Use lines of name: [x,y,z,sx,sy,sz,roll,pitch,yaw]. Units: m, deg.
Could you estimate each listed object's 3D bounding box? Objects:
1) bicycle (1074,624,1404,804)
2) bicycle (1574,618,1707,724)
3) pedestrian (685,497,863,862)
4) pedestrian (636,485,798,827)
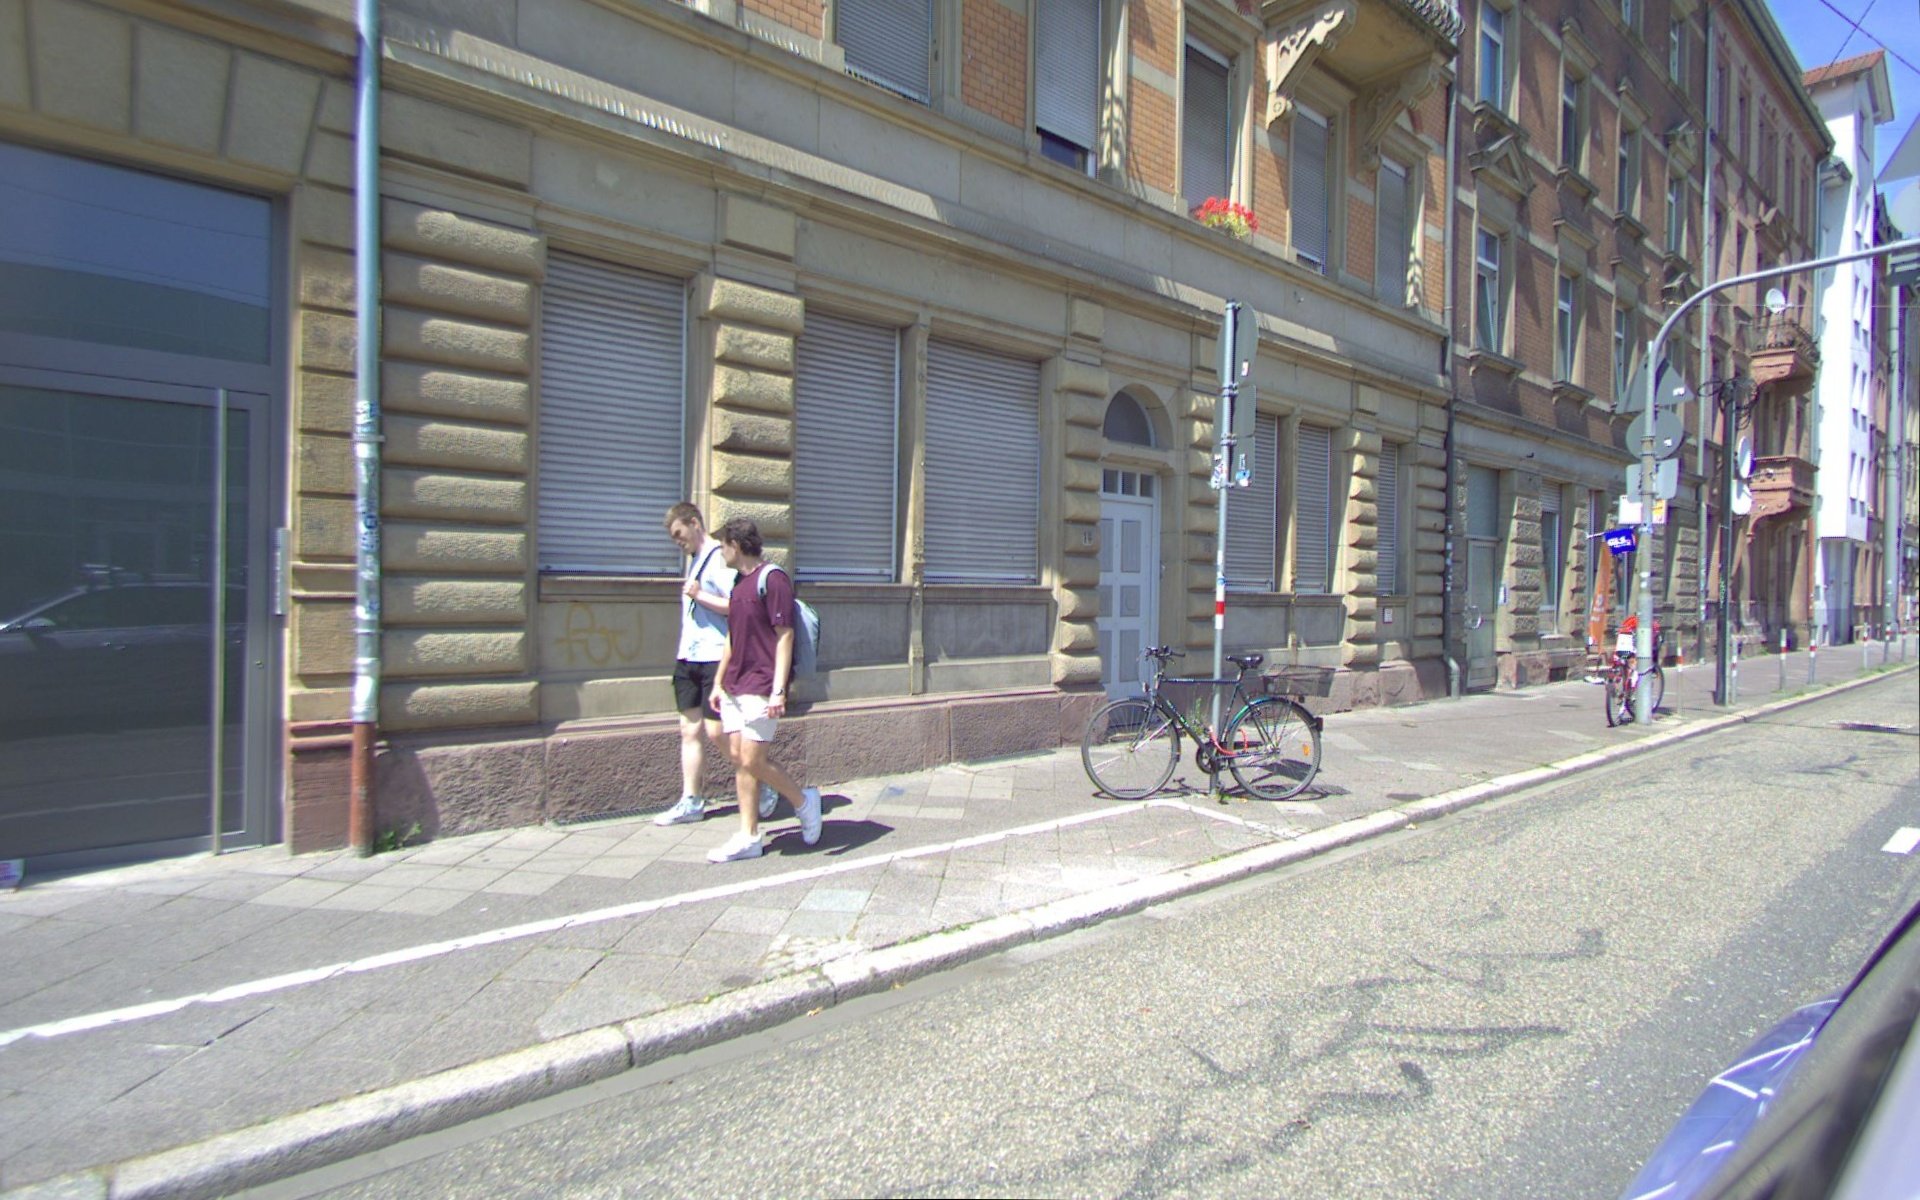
bicycle: [1.929,0.759,7.022,2.196,1.145,0.501,1,1,-11]
bicycle: [7.974,0.786,11.806,2.376,1.111,0.449,0,1,-35]
pedestrian: [-0.983,0.373,5.309,0.632,1.741,0.722,0,1,-39]
pedestrian: [-1.447,0.282,5.981,0.632,1.871,0.704,0,4,-39]
